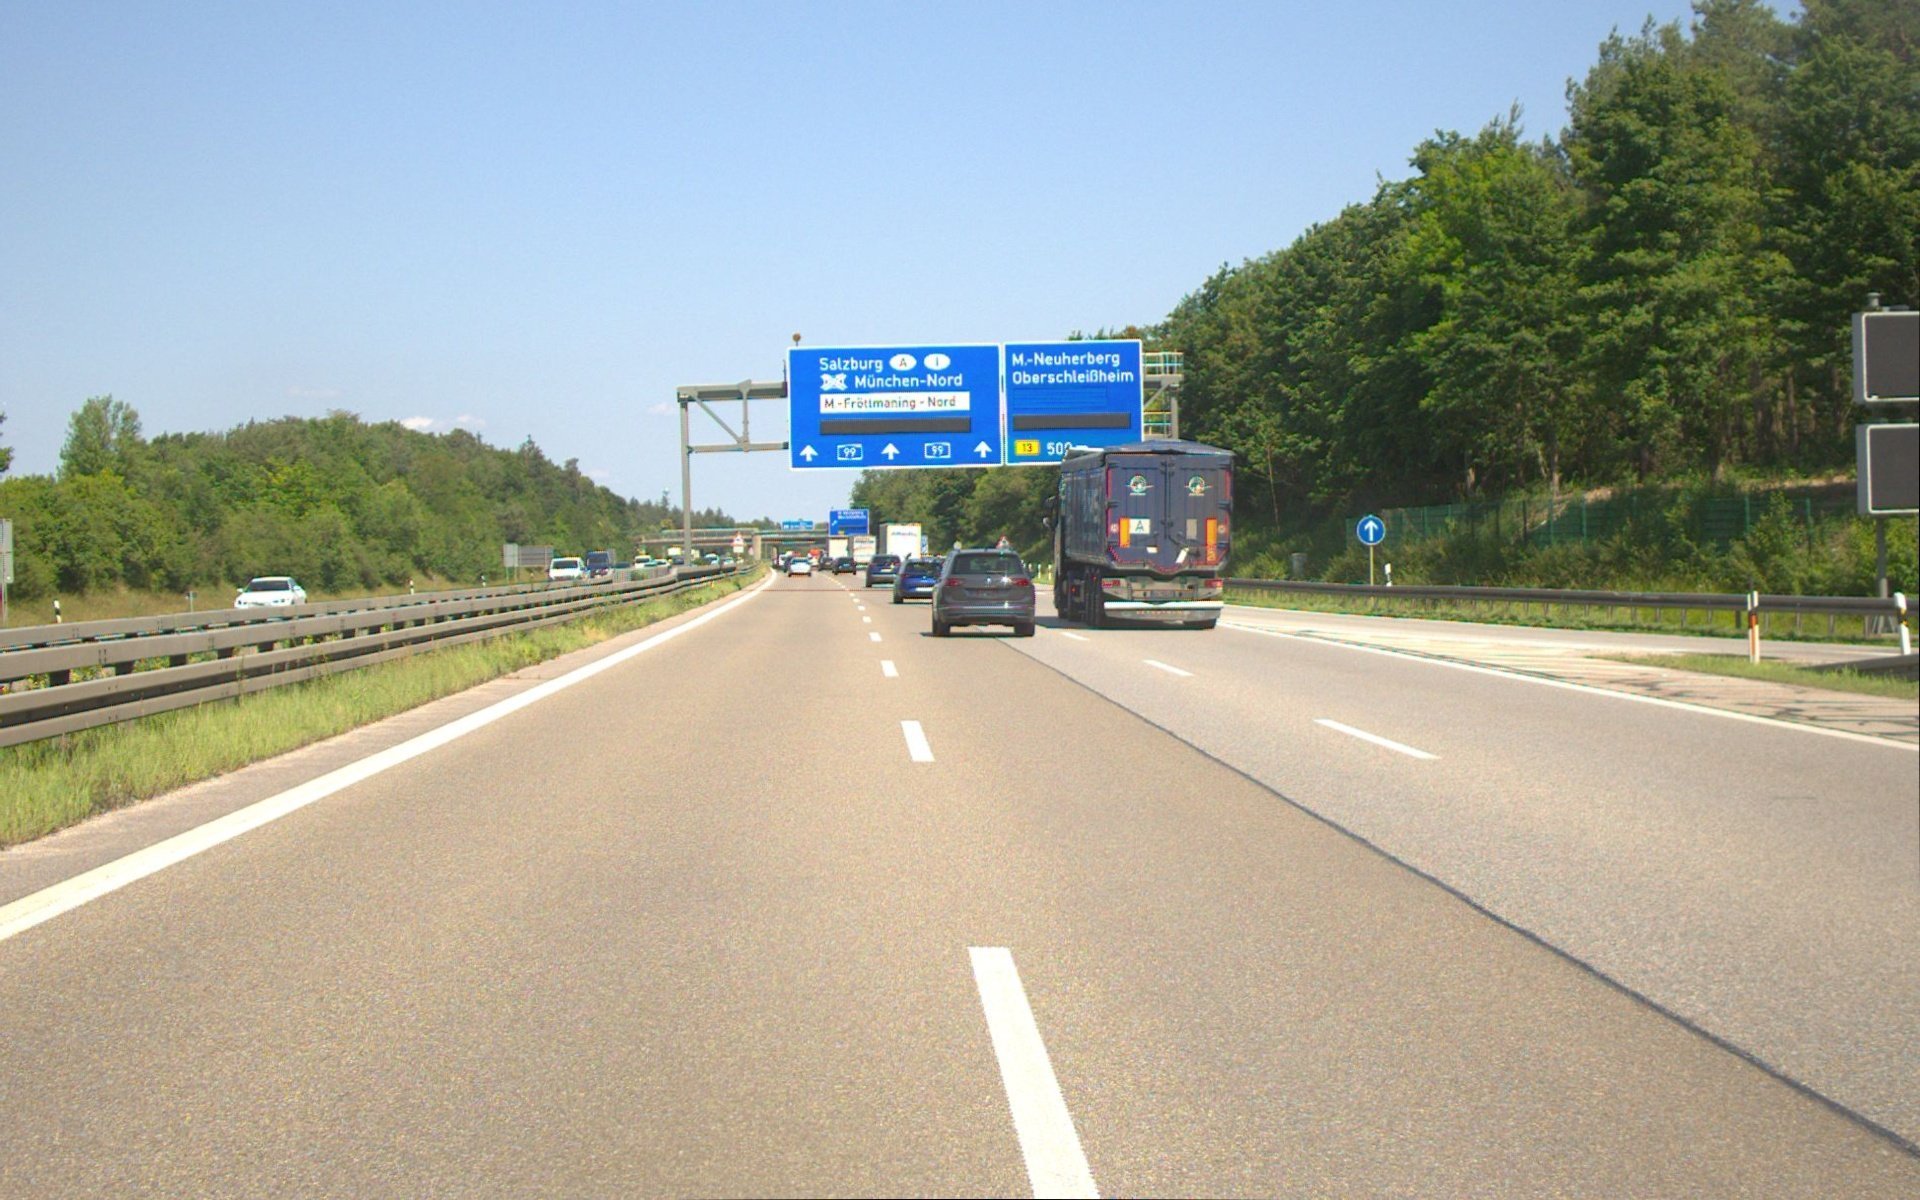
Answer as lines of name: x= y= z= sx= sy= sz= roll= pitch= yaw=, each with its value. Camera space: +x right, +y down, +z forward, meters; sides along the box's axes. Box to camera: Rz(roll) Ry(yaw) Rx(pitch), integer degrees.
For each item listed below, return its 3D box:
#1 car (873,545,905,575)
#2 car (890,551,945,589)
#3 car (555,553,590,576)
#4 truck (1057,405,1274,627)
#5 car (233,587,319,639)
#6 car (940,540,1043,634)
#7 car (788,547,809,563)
car: x=-3.449 y=-1.933 z=166.613 sx=1.471 sy=1.393 sz=3.410 roll=2 pitch=1 yaw=-1
car: x=-1.343 y=-0.975 z=109.589 sx=1.709 sy=1.151 sz=3.689 roll=-1 pitch=1 yaw=-1
car: x=-21.933 y=-2.017 z=194.664 sx=1.604 sy=1.295 sz=3.791 roll=0 pitch=1 yaw=-1
truck: x=4.292 y=-1.802 z=75.442 sx=3.780 sy=4.407 sz=14.051 roll=0 pitch=1 yaw=-1
car: x=-22.310 y=0.411 z=112.201 sx=1.993 sy=1.588 sz=4.301 roll=-1 pitch=1 yaw=-1
car: x=0.627 y=-0.274 z=64.723 sx=1.799 sy=1.663 sz=4.258 roll=1 pitch=1 yaw=2
car: x=-12.161 y=-3.389 z=259.236 sx=1.471 sy=1.223 sz=3.410 roll=-1 pitch=1 yaw=-1
